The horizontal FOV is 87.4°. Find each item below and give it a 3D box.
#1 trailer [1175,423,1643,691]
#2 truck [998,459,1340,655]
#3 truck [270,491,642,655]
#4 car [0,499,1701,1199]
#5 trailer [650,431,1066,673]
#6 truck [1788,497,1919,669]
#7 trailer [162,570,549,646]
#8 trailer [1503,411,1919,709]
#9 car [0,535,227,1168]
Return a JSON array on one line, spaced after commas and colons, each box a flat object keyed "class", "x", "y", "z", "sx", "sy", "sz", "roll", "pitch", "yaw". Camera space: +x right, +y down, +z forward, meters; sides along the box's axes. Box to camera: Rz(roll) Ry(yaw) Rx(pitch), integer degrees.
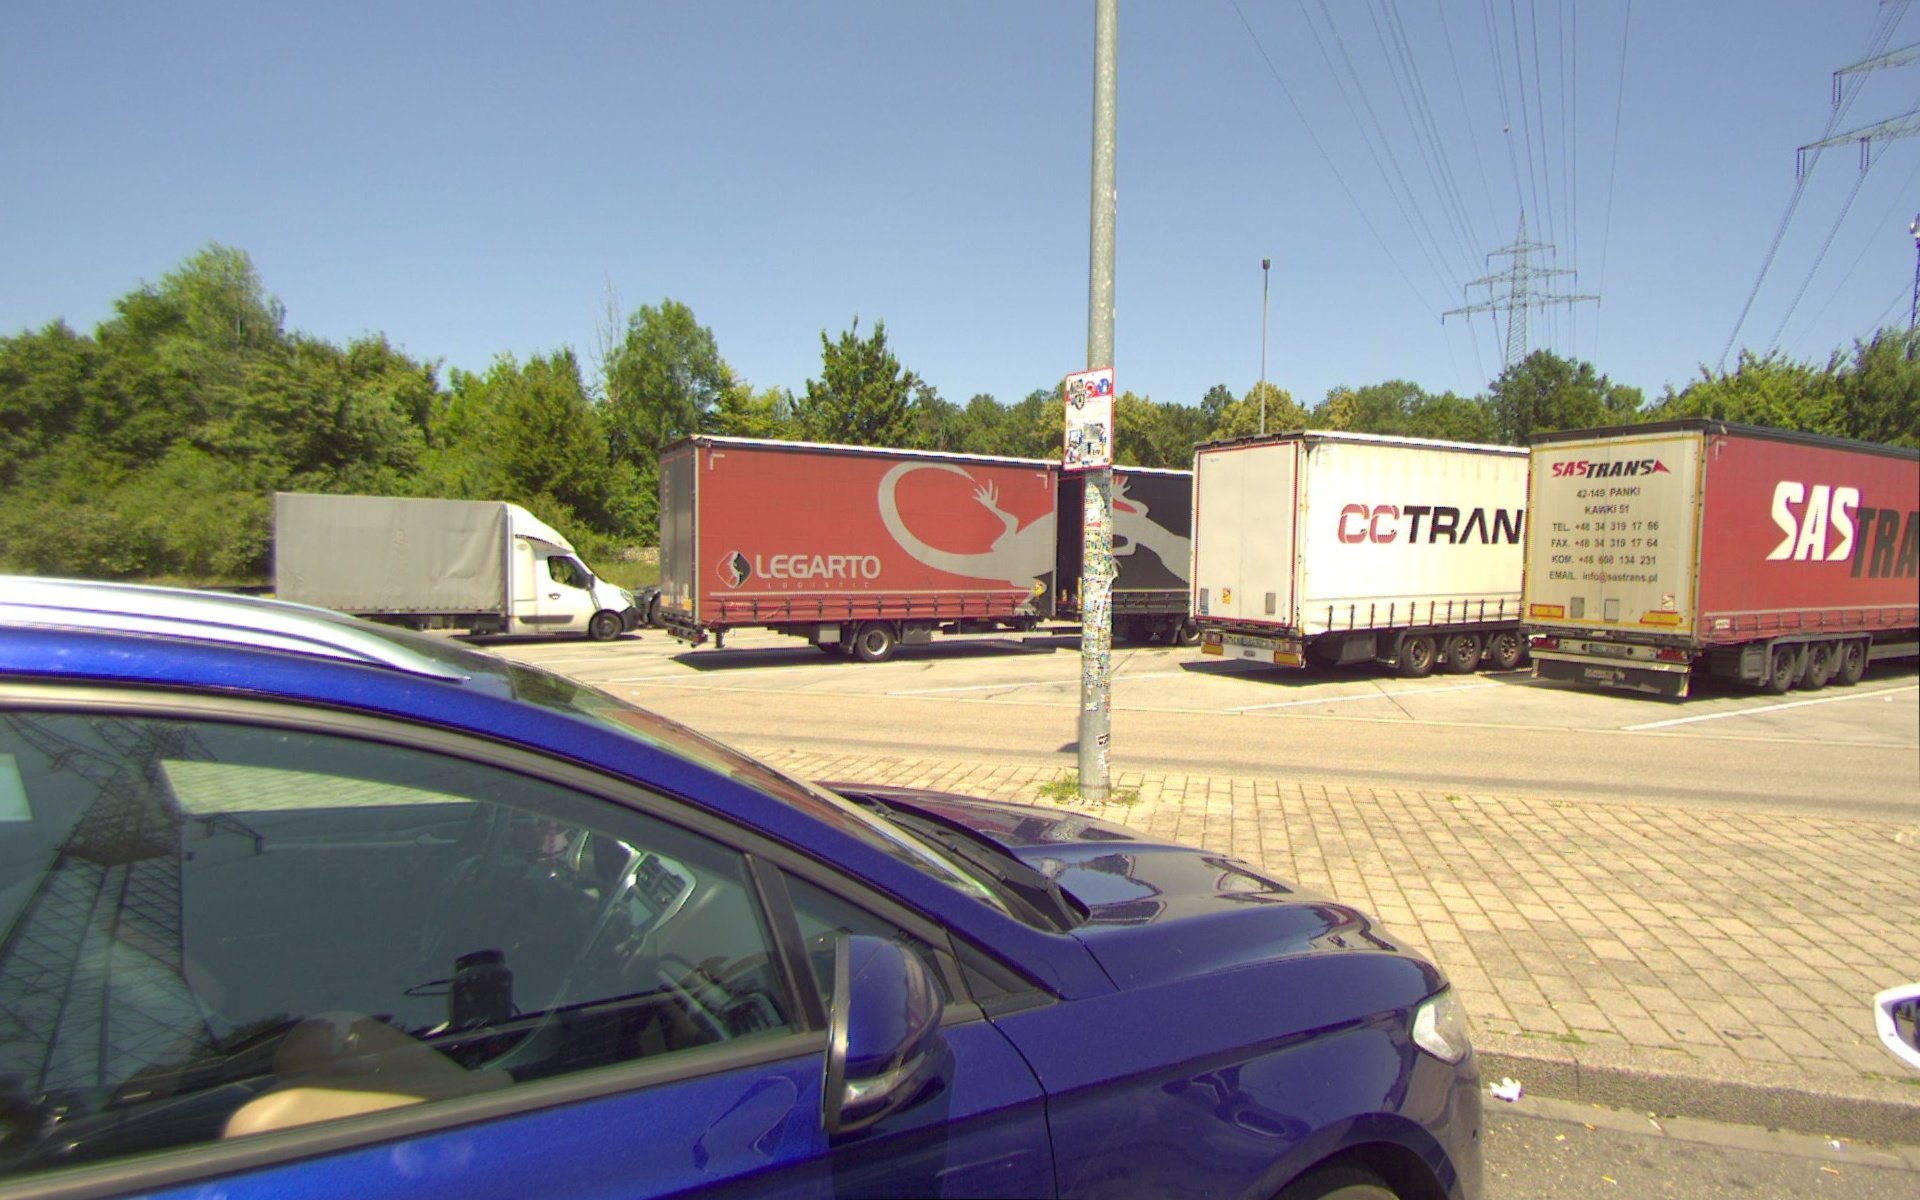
[{"class": "trailer", "x": 8.966, "y": -0.770, "z": 19.347, "sx": 10.264, "sy": 4.158, "sz": 2.693, "roll": -1, "pitch": 3, "yaw": -30}, {"class": "truck", "x": 5.265, "y": -0.999, "z": 24.542, "sx": 8.585, "sy": 4.127, "sz": 2.693, "roll": -1, "pitch": 3, "yaw": -30}, {"class": "truck", "x": -11.245, "y": -0.624, "z": 22.999, "sx": 7.187, "sy": 3.289, "sz": 2.694, "roll": -1, "pitch": 3, "yaw": -29}, {"class": "car", "x": -0.981, "y": 0.654, "z": 1.455, "sx": 4.522, "sy": 1.491, "sz": 1.743, "roll": 0, "pitch": 2, "yaw": -32}, {"class": "trailer", "x": -1.888, "y": -0.904, "z": 20.334, "sx": 8.007, "sy": 4.127, "sz": 2.693, "roll": -1, "pitch": 3, "yaw": -30}, {"class": "truck", "x": 21.252, "y": -0.403, "z": 22.048, "sx": 5.903, "sy": 3.409, "sz": 2.798, "roll": -1, "pitch": 3, "yaw": -30}, {"class": "trailer", "x": -14.756, "y": 0.102, "z": 25.239, "sx": 8.007, "sy": 1.648, "sz": 2.199, "roll": -1, "pitch": 3, "yaw": -30}, {"class": "trailer", "x": 15.459, "y": -0.676, "z": 18.612, "sx": 13.599, "sy": 4.127, "sz": 2.807, "roll": -1, "pitch": 3, "yaw": -31}, {"class": "car", "x": -4.423, "y": 0.581, "z": 2.093, "sx": 4.522, "sy": 1.526, "sz": 1.743, "roll": 0, "pitch": 2, "yaw": -32}]
